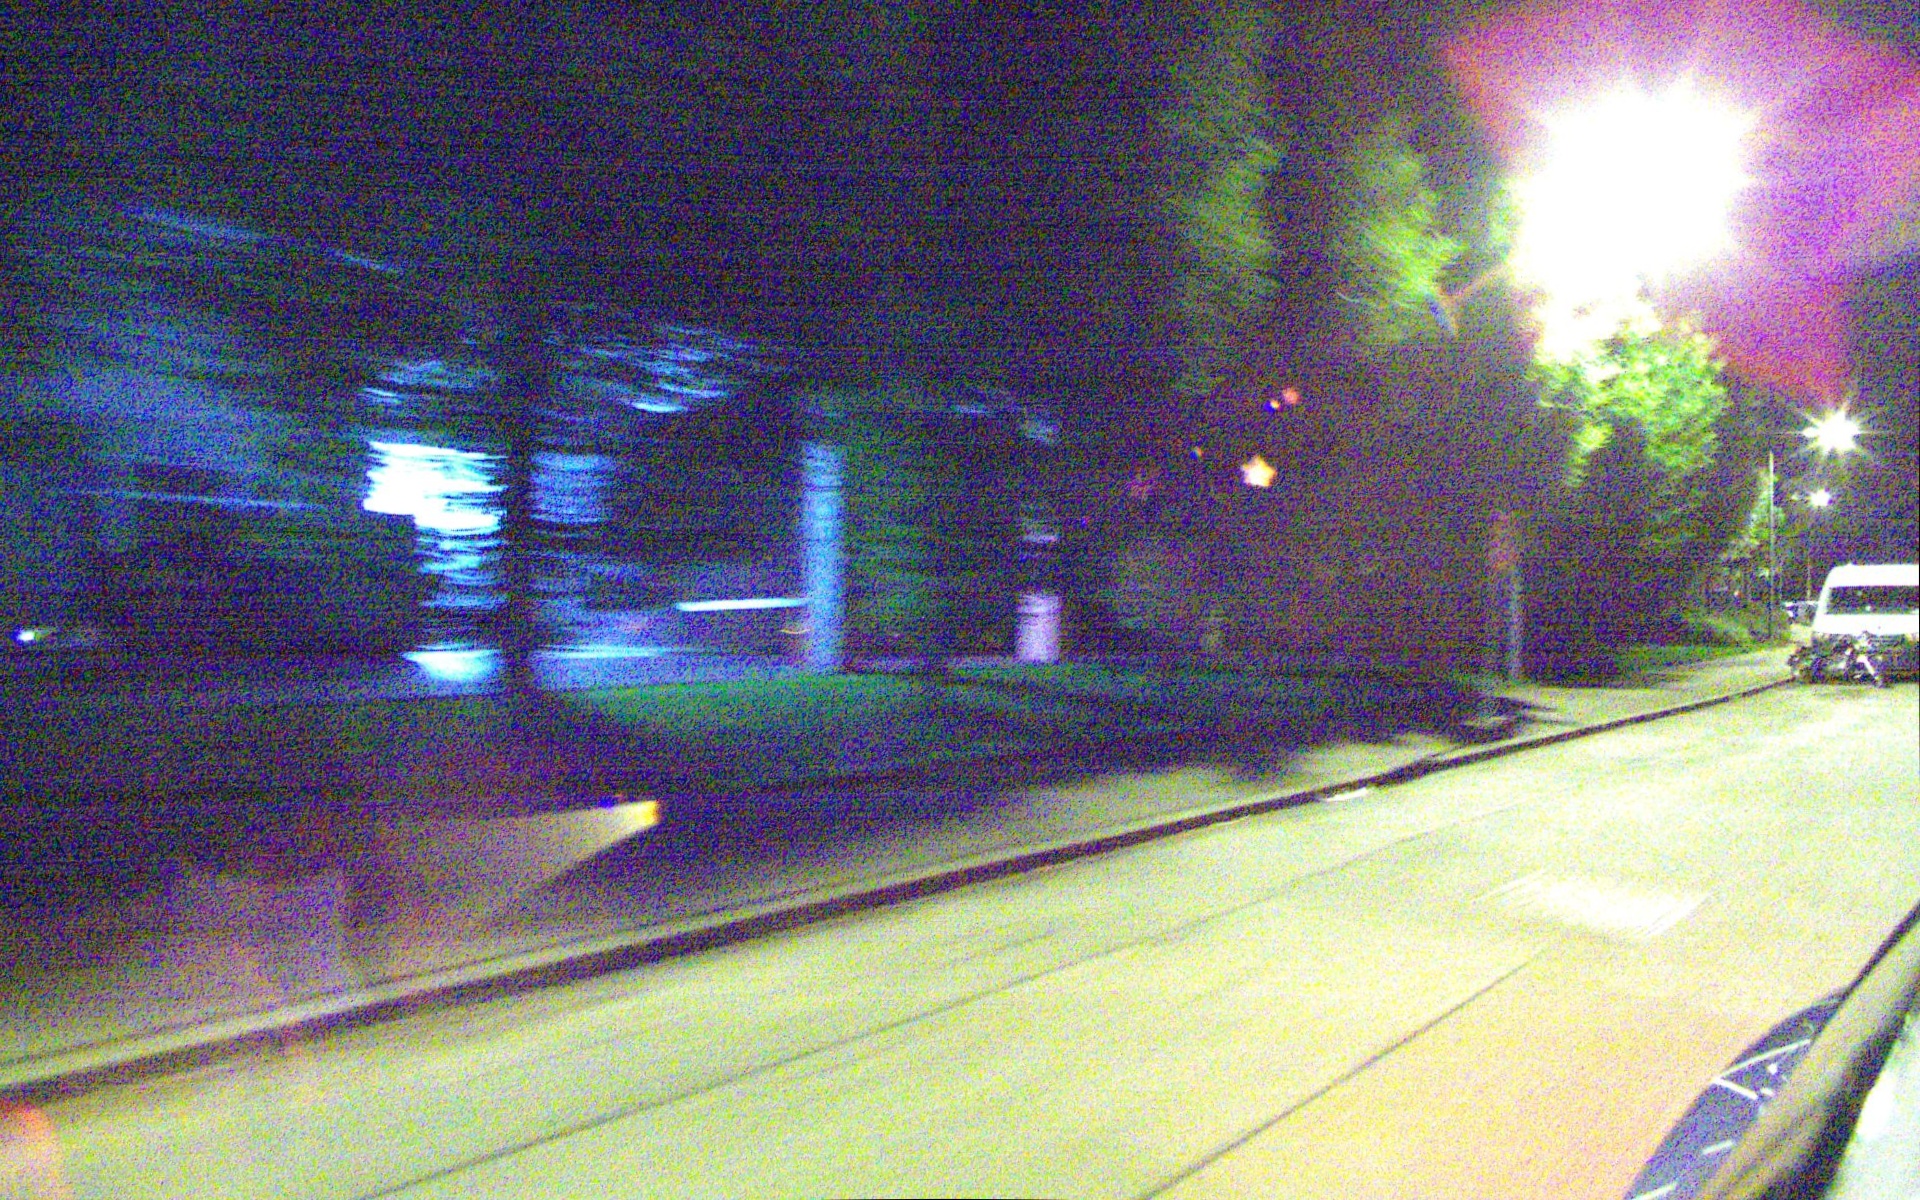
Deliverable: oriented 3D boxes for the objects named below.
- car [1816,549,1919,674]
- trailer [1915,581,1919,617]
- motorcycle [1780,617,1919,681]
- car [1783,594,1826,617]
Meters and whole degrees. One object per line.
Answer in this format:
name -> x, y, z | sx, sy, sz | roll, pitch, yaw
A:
car -> 21.427, 0.240, 23.075 | 5.946, 2.559, 2.024 | 0, -1, -41
trailer -> 75.900, -0.026, 78.283 | 1.987, 2.800, 3.956 | 2, 1, 31
motorcycle -> 18.019, 0.952, 20.523 | 0.753, 1.199, 2.188 | -1, -1, -9
car -> 66.731, 0.410, 80.014 | 1.718, 1.802, 4.275 | -1, 0, 27
